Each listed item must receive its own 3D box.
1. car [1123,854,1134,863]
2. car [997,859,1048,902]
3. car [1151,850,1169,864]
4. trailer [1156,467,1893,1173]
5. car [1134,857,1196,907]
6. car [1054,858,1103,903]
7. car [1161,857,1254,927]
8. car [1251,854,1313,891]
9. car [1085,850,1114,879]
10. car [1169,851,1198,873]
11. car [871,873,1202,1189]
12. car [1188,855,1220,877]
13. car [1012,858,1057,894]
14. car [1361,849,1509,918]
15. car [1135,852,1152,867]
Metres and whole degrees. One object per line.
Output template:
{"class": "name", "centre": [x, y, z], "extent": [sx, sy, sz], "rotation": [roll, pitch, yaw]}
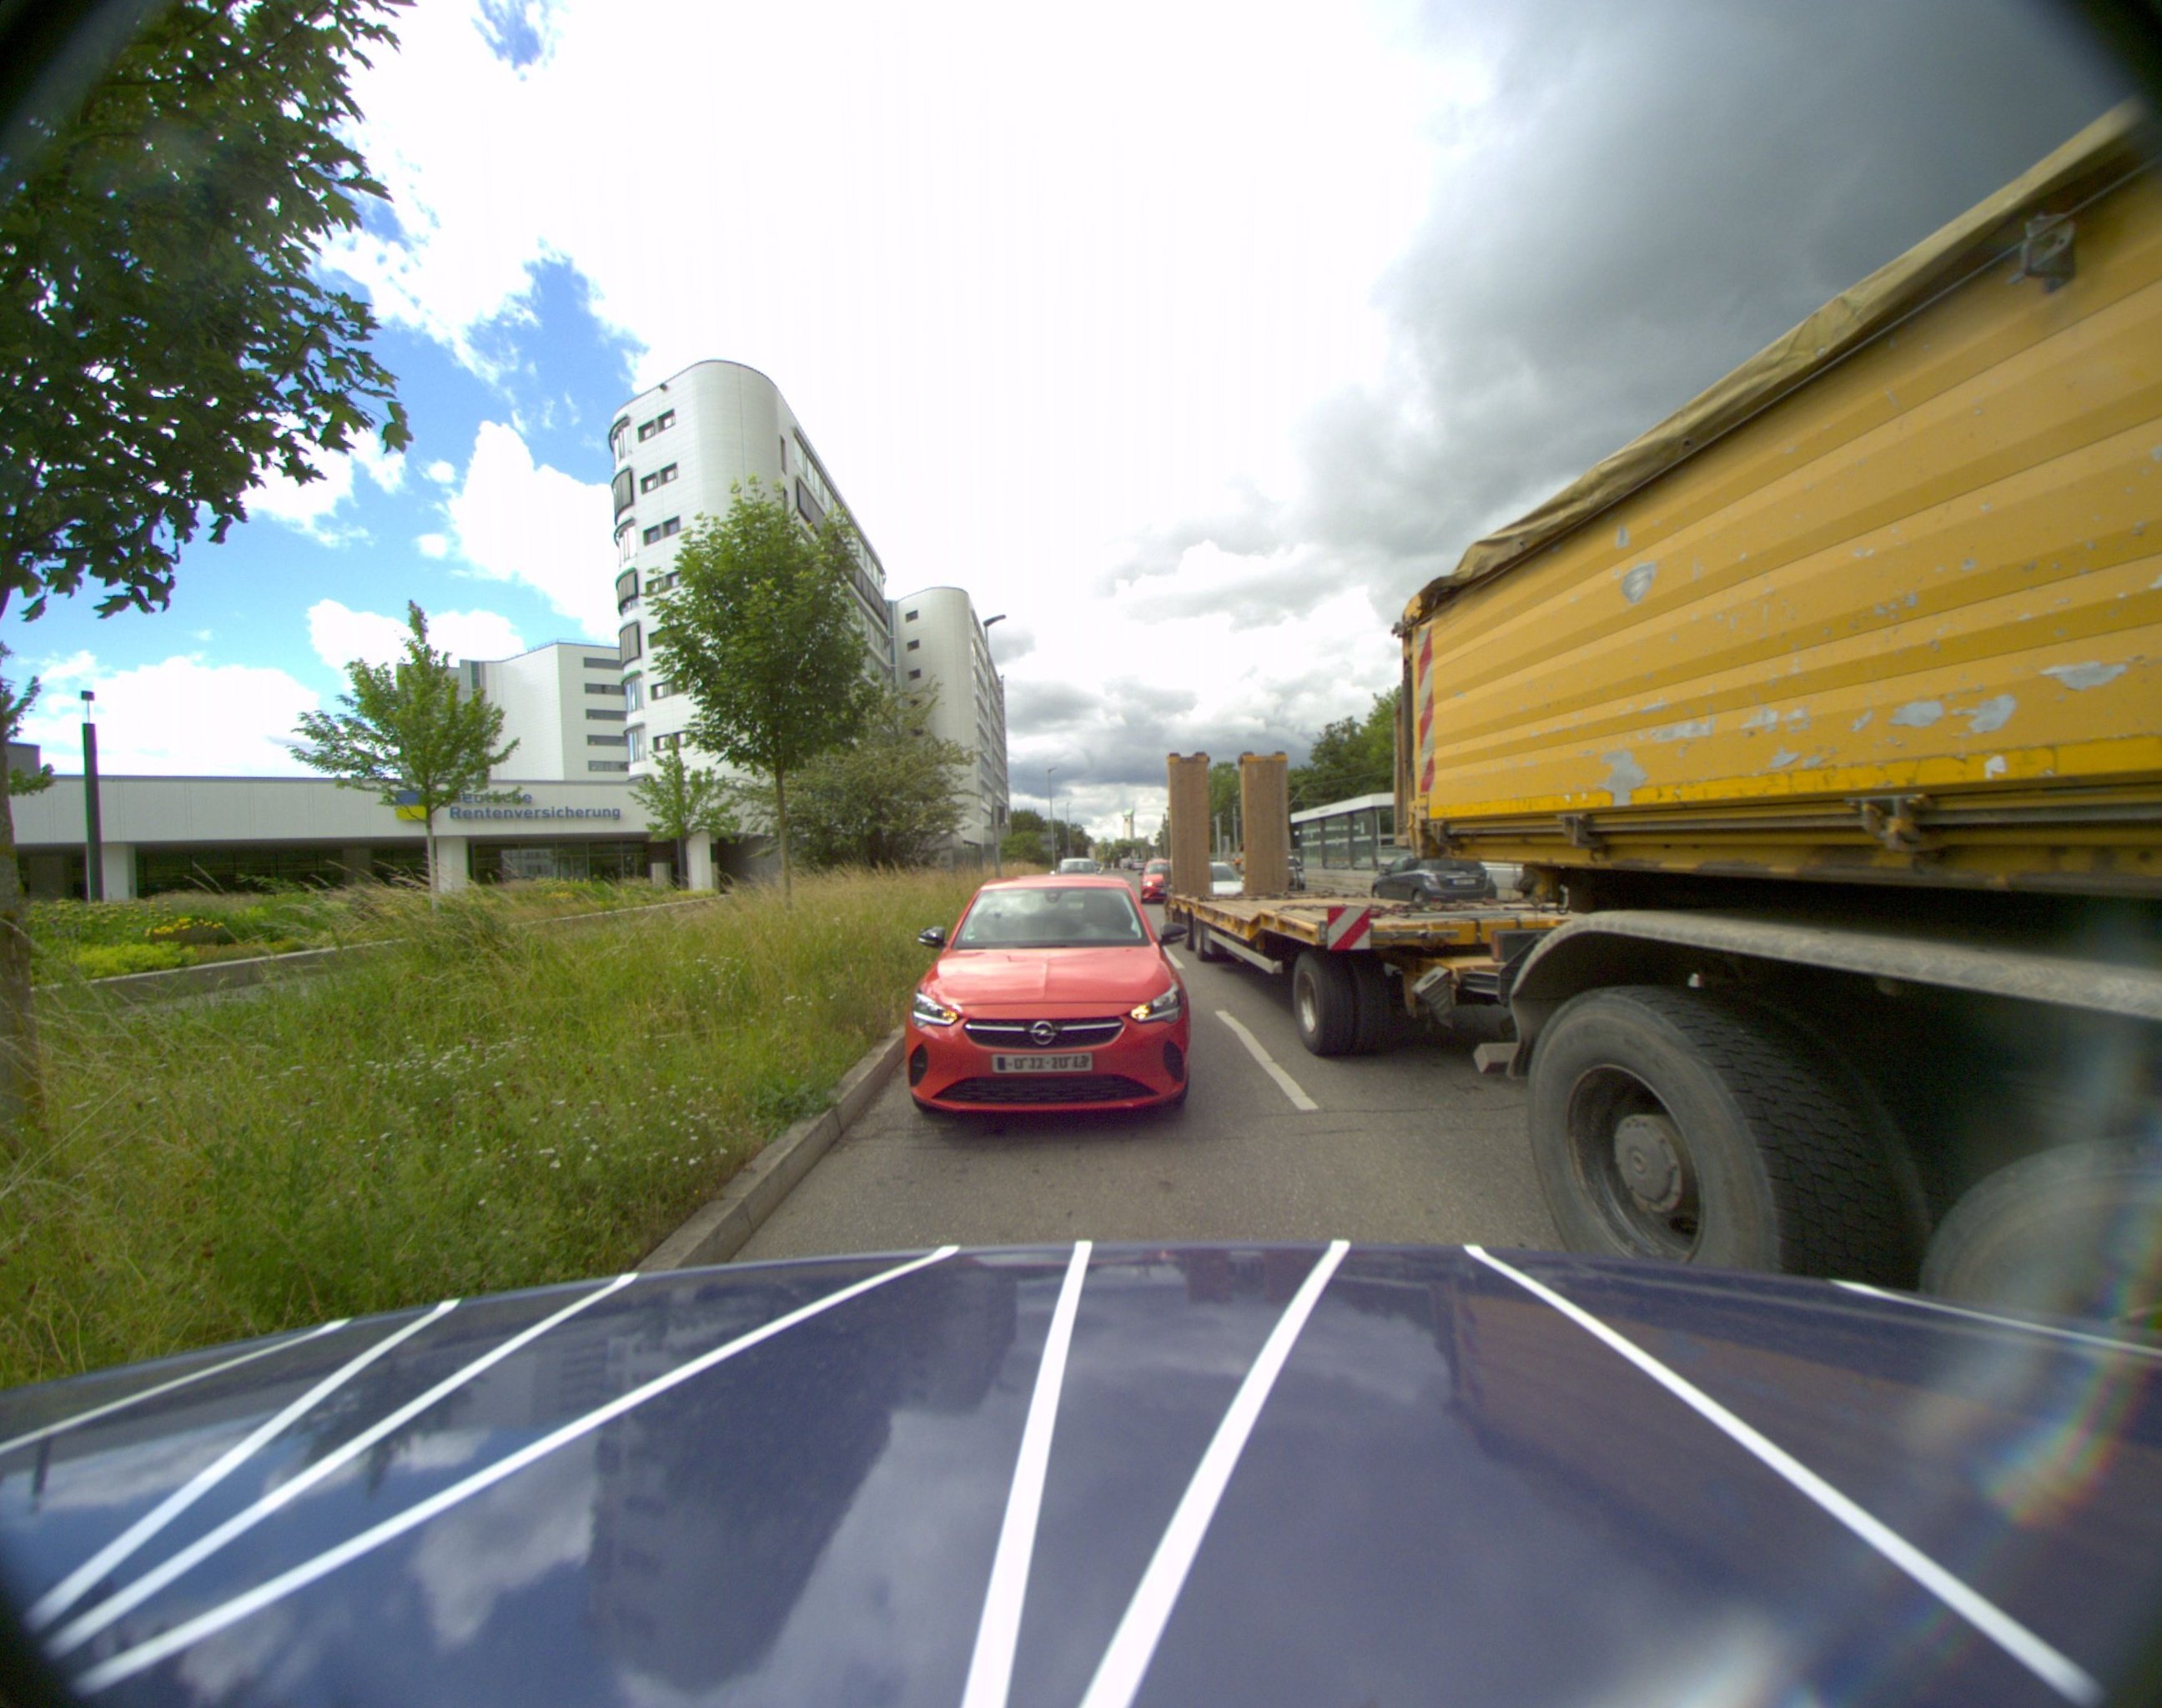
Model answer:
{"class": "car", "centre": [8.700, 0.809, 139.468], "extent": [1.770, 1.489, 3.554], "rotation": [-2, 0, 1]}
{"class": "car", "centre": [-2.294, 1.009, 30.662], "extent": [1.738, 1.565, 3.445], "rotation": [-2, 0, 0]}
{"class": "car", "centre": [8.877, 0.353, 85.366], "extent": [1.644, 1.489, 3.554], "rotation": [-2, 0, 1]}
{"class": "trailer", "centre": [2.806, -0.162, 9.335], "extent": [2.713, 3.501, 10.914], "rotation": [-2, 0, 1]}
{"class": "car", "centre": [2.819, 0.893, 26.158], "extent": [1.692, 1.471, 3.999], "rotation": [-2, 1, 1]}
{"class": "car", "centre": [-0.099, 0.979, 29.629], "extent": [1.738, 1.565, 3.445], "rotation": [-2, 0, 0]}
{"class": "car", "centre": [3.080, 0.877, 19.253], "extent": [1.692, 1.471, 3.999], "rotation": [-2, 1, 1]}
{"class": "car", "centre": [8.572, 0.747, 32.721], "extent": [1.766, 1.432, 4.279], "rotation": [-2, 0, 4]}
{"class": "car", "centre": [1.349, 0.780, 56.055], "extent": [1.998, 2.002, 4.000], "rotation": [-2, 0, 1]}
{"class": "car", "centre": [8.846, 0.678, 65.742], "extent": [1.887, 1.761, 4.864], "rotation": [-2, 0, 1]}
{"class": "car", "centre": [-0.206, 0.991, 6.019], "extent": [1.692, 1.471, 3.999], "rotation": [-2, 1, 1]}
{"class": "car", "centre": [8.638, 0.857, 53.759], "extent": [1.705, 1.449, 3.566], "rotation": [-2, 0, 1]}
{"class": "car", "centre": [-2.165, 0.994, 36.308], "extent": [1.850, 1.565, 4.623], "rotation": [-2, 0, 0]}
{"class": "car", "centre": [8.508, 0.651, 18.688], "extent": [1.781, 1.460, 4.044], "rotation": [-2, 0, 1]}
{"class": "car", "centre": [8.824, 0.753, 107.057], "extent": [1.998, 2.002, 4.000], "rotation": [-2, 0, 1]}
